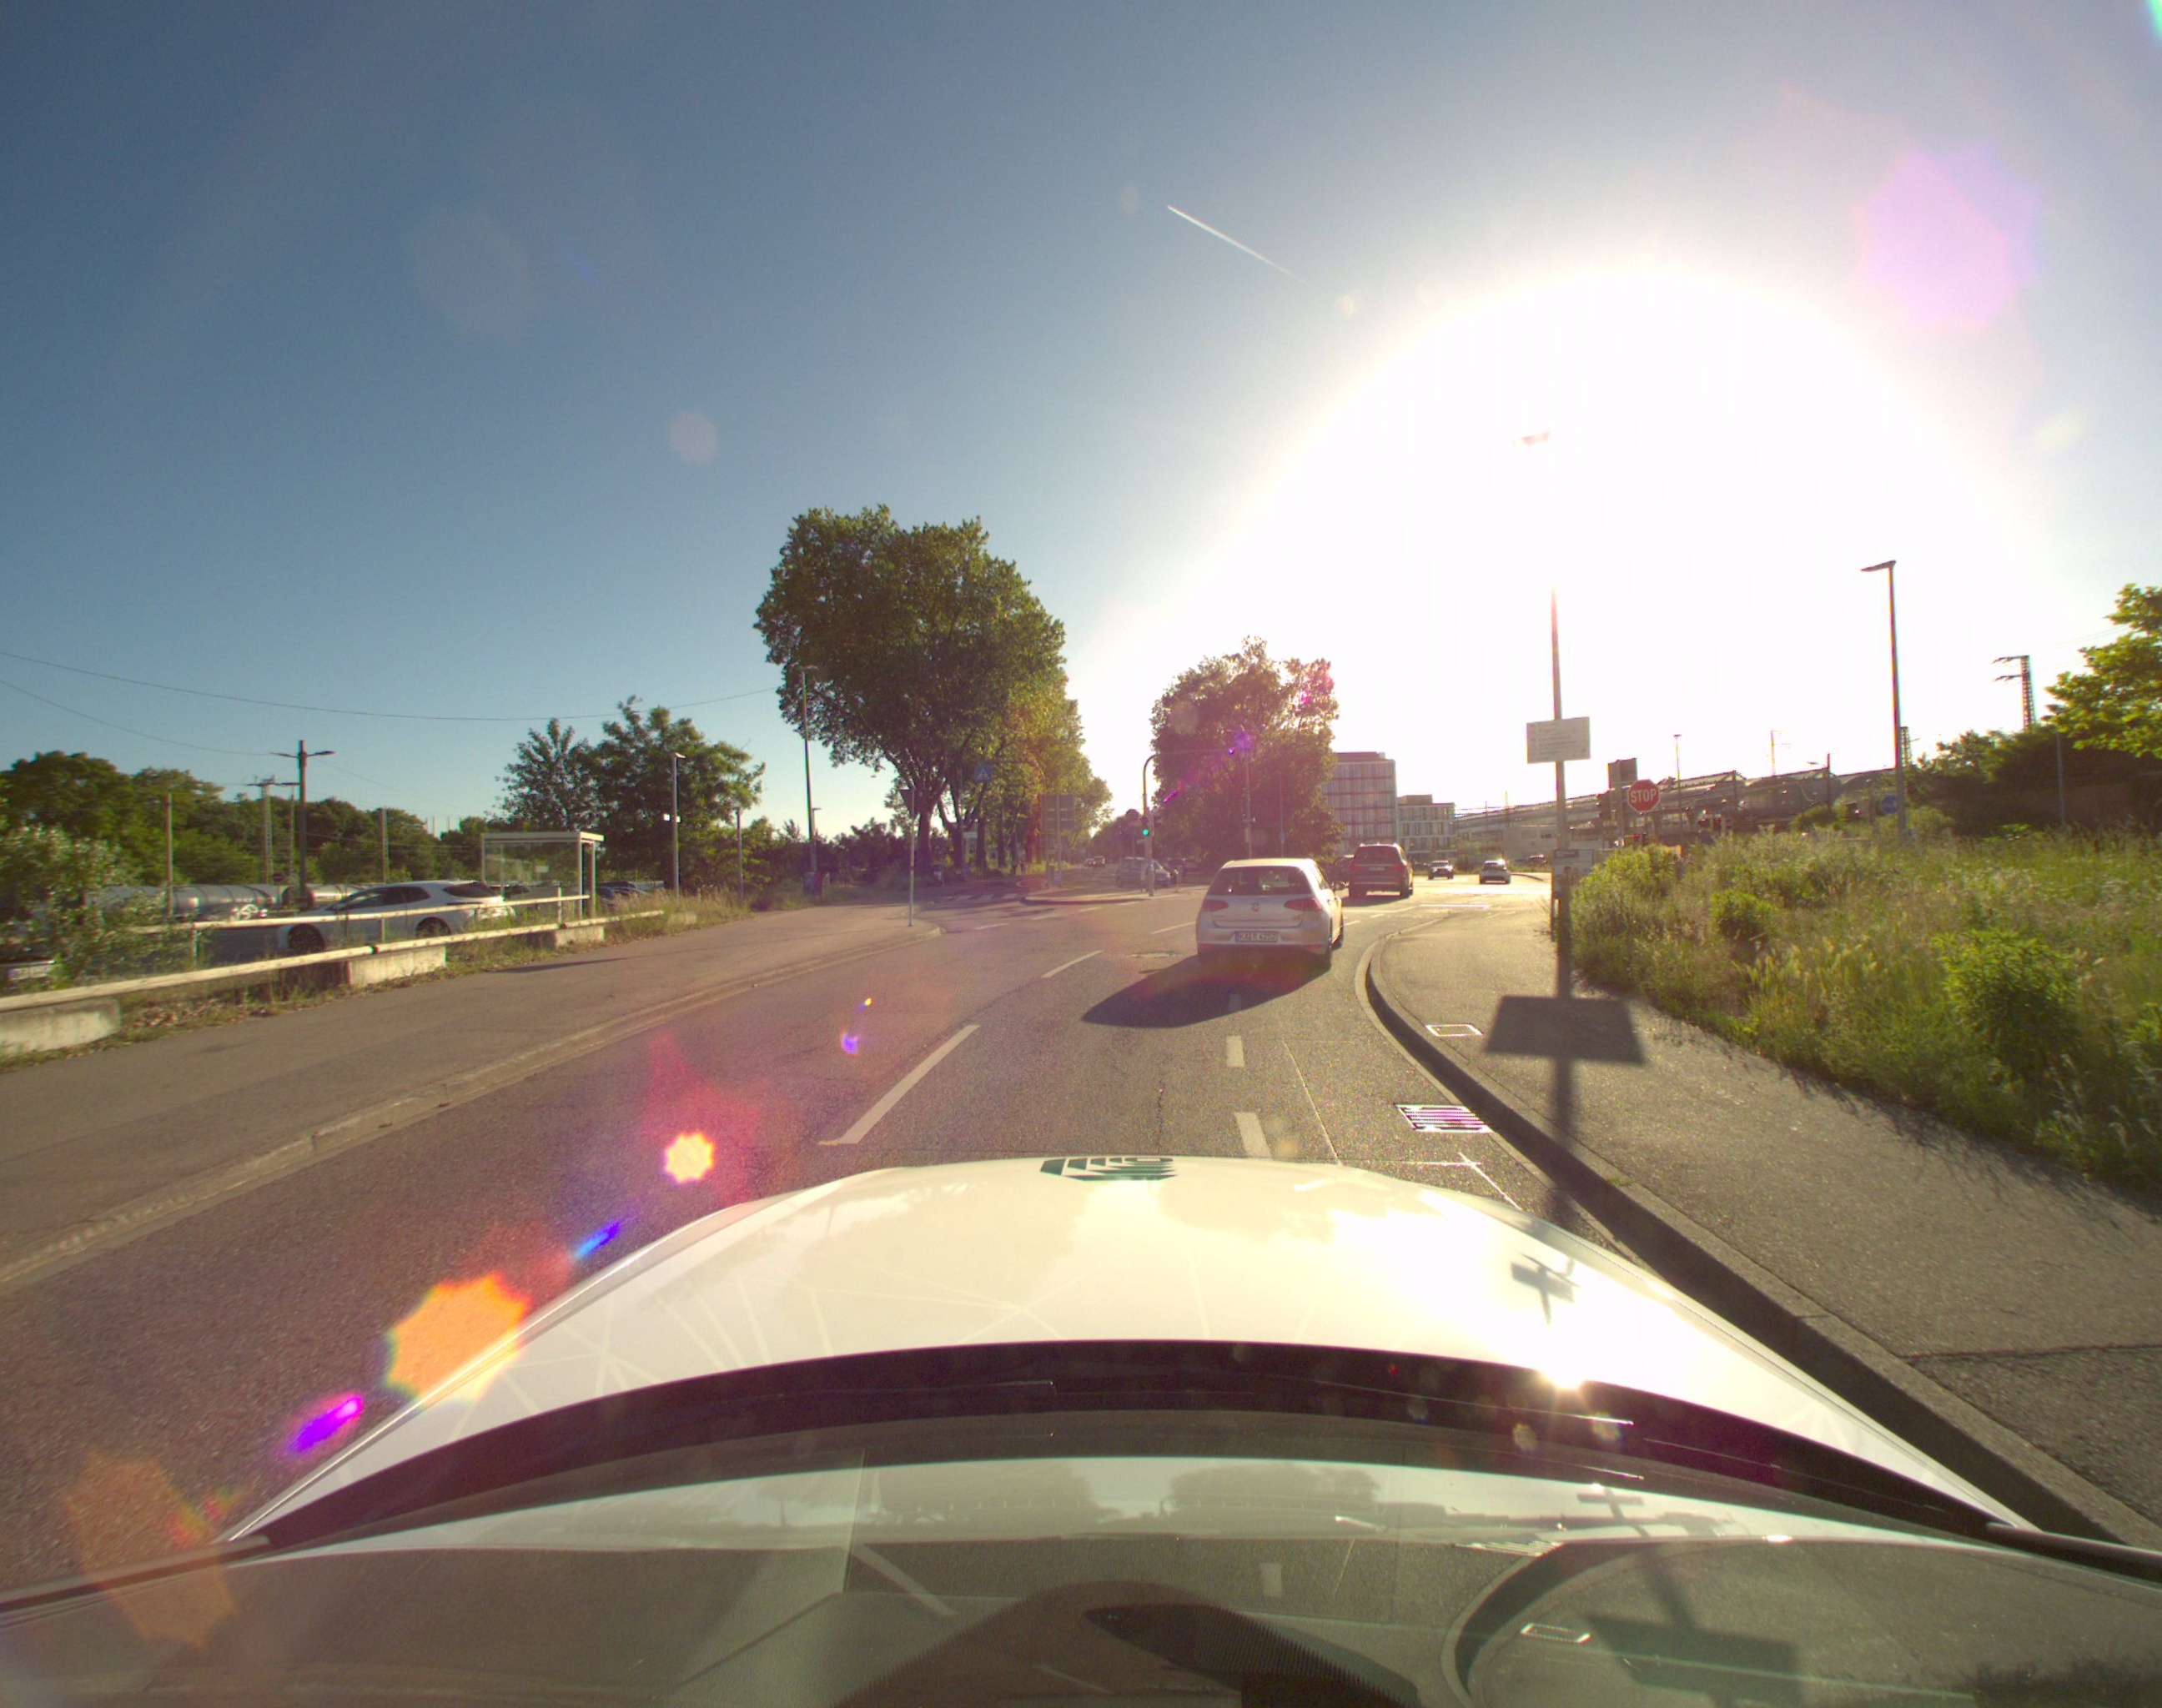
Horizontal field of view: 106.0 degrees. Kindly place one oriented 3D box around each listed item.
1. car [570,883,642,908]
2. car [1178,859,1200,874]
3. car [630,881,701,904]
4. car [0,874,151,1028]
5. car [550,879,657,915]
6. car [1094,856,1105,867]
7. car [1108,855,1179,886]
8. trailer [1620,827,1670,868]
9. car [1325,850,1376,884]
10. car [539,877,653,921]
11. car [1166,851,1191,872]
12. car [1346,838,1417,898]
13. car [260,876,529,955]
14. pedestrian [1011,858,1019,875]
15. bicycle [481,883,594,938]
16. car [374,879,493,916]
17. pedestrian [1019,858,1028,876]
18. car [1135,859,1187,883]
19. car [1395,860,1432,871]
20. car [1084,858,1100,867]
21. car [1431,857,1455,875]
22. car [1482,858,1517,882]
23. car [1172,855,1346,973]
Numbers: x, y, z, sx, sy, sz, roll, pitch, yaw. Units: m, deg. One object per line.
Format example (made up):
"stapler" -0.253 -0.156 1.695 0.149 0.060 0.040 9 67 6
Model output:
"car" -35.171 3.071 60.374 4.129 1.706 1.978 -1 -1 0
"car" 12.000 1.380 90.483 1.848 1.650 4.265 -1 -1 0
"car" -35.403 3.236 69.462 4.928 1.764 2.000 -1 -1 0
"car" -13.897 1.099 9.280 4.126 1.654 1.869 -1 -1 -7
"car" -22.023 1.970 37.728 3.999 1.459 1.719 -1 -1 -19
"car" 2.976 1.255 130.967 1.847 1.743 4.267 -1 -1 1
"car" 3.390 0.896 44.761 1.926 1.636 4.082 0 -1 -29
"trailer" 47.229 -0.472 68.372 2.967 3.292 6.709 -1 -1 31
"car" 14.324 0.684 43.477 1.930 1.713 4.211 -1 -1 9
"car" -20.896 1.922 35.284 4.005 1.683 1.826 -1 -1 -24
"car" 8.791 0.670 73.709 1.846 1.743 4.268 -1 -1 2
"car" 10.532 0.473 28.517 2.095 1.887 4.837 -2 -1 20
"car" -15.023 1.310 18.028 4.249 1.511 1.890 -1 -1 -3
"pedestrian" -6.155 1.141 76.103 0.660 1.586 0.632 -1 -1 4
"bicycle" -17.808 1.796 26.785 0.894 1.616 2.975 -1 -1 34
"car" -35.978 2.410 45.342 4.985 1.838 2.203 -1 -1 5
"pedestrian" -5.358 1.220 75.756 0.725 1.592 0.805 -1 -1 4
"car" 4.981 1.039 51.170 1.908 1.427 3.913 0 -1 -18
"car" 57.552 1.978 140.887 5.692 1.845 1.914 -1 -1 -4
"car" 2.068 1.627 151.551 1.856 1.599 4.304 -1 -1 -14
"car" 30.486 0.981 68.543 1.732 1.476 4.023 -2 -1 24
"car" 27.582 1.046 53.682 1.731 1.476 4.025 -2 -1 31
"car" 2.787 0.750 11.986 1.954 1.427 3.956 -2 -1 20
